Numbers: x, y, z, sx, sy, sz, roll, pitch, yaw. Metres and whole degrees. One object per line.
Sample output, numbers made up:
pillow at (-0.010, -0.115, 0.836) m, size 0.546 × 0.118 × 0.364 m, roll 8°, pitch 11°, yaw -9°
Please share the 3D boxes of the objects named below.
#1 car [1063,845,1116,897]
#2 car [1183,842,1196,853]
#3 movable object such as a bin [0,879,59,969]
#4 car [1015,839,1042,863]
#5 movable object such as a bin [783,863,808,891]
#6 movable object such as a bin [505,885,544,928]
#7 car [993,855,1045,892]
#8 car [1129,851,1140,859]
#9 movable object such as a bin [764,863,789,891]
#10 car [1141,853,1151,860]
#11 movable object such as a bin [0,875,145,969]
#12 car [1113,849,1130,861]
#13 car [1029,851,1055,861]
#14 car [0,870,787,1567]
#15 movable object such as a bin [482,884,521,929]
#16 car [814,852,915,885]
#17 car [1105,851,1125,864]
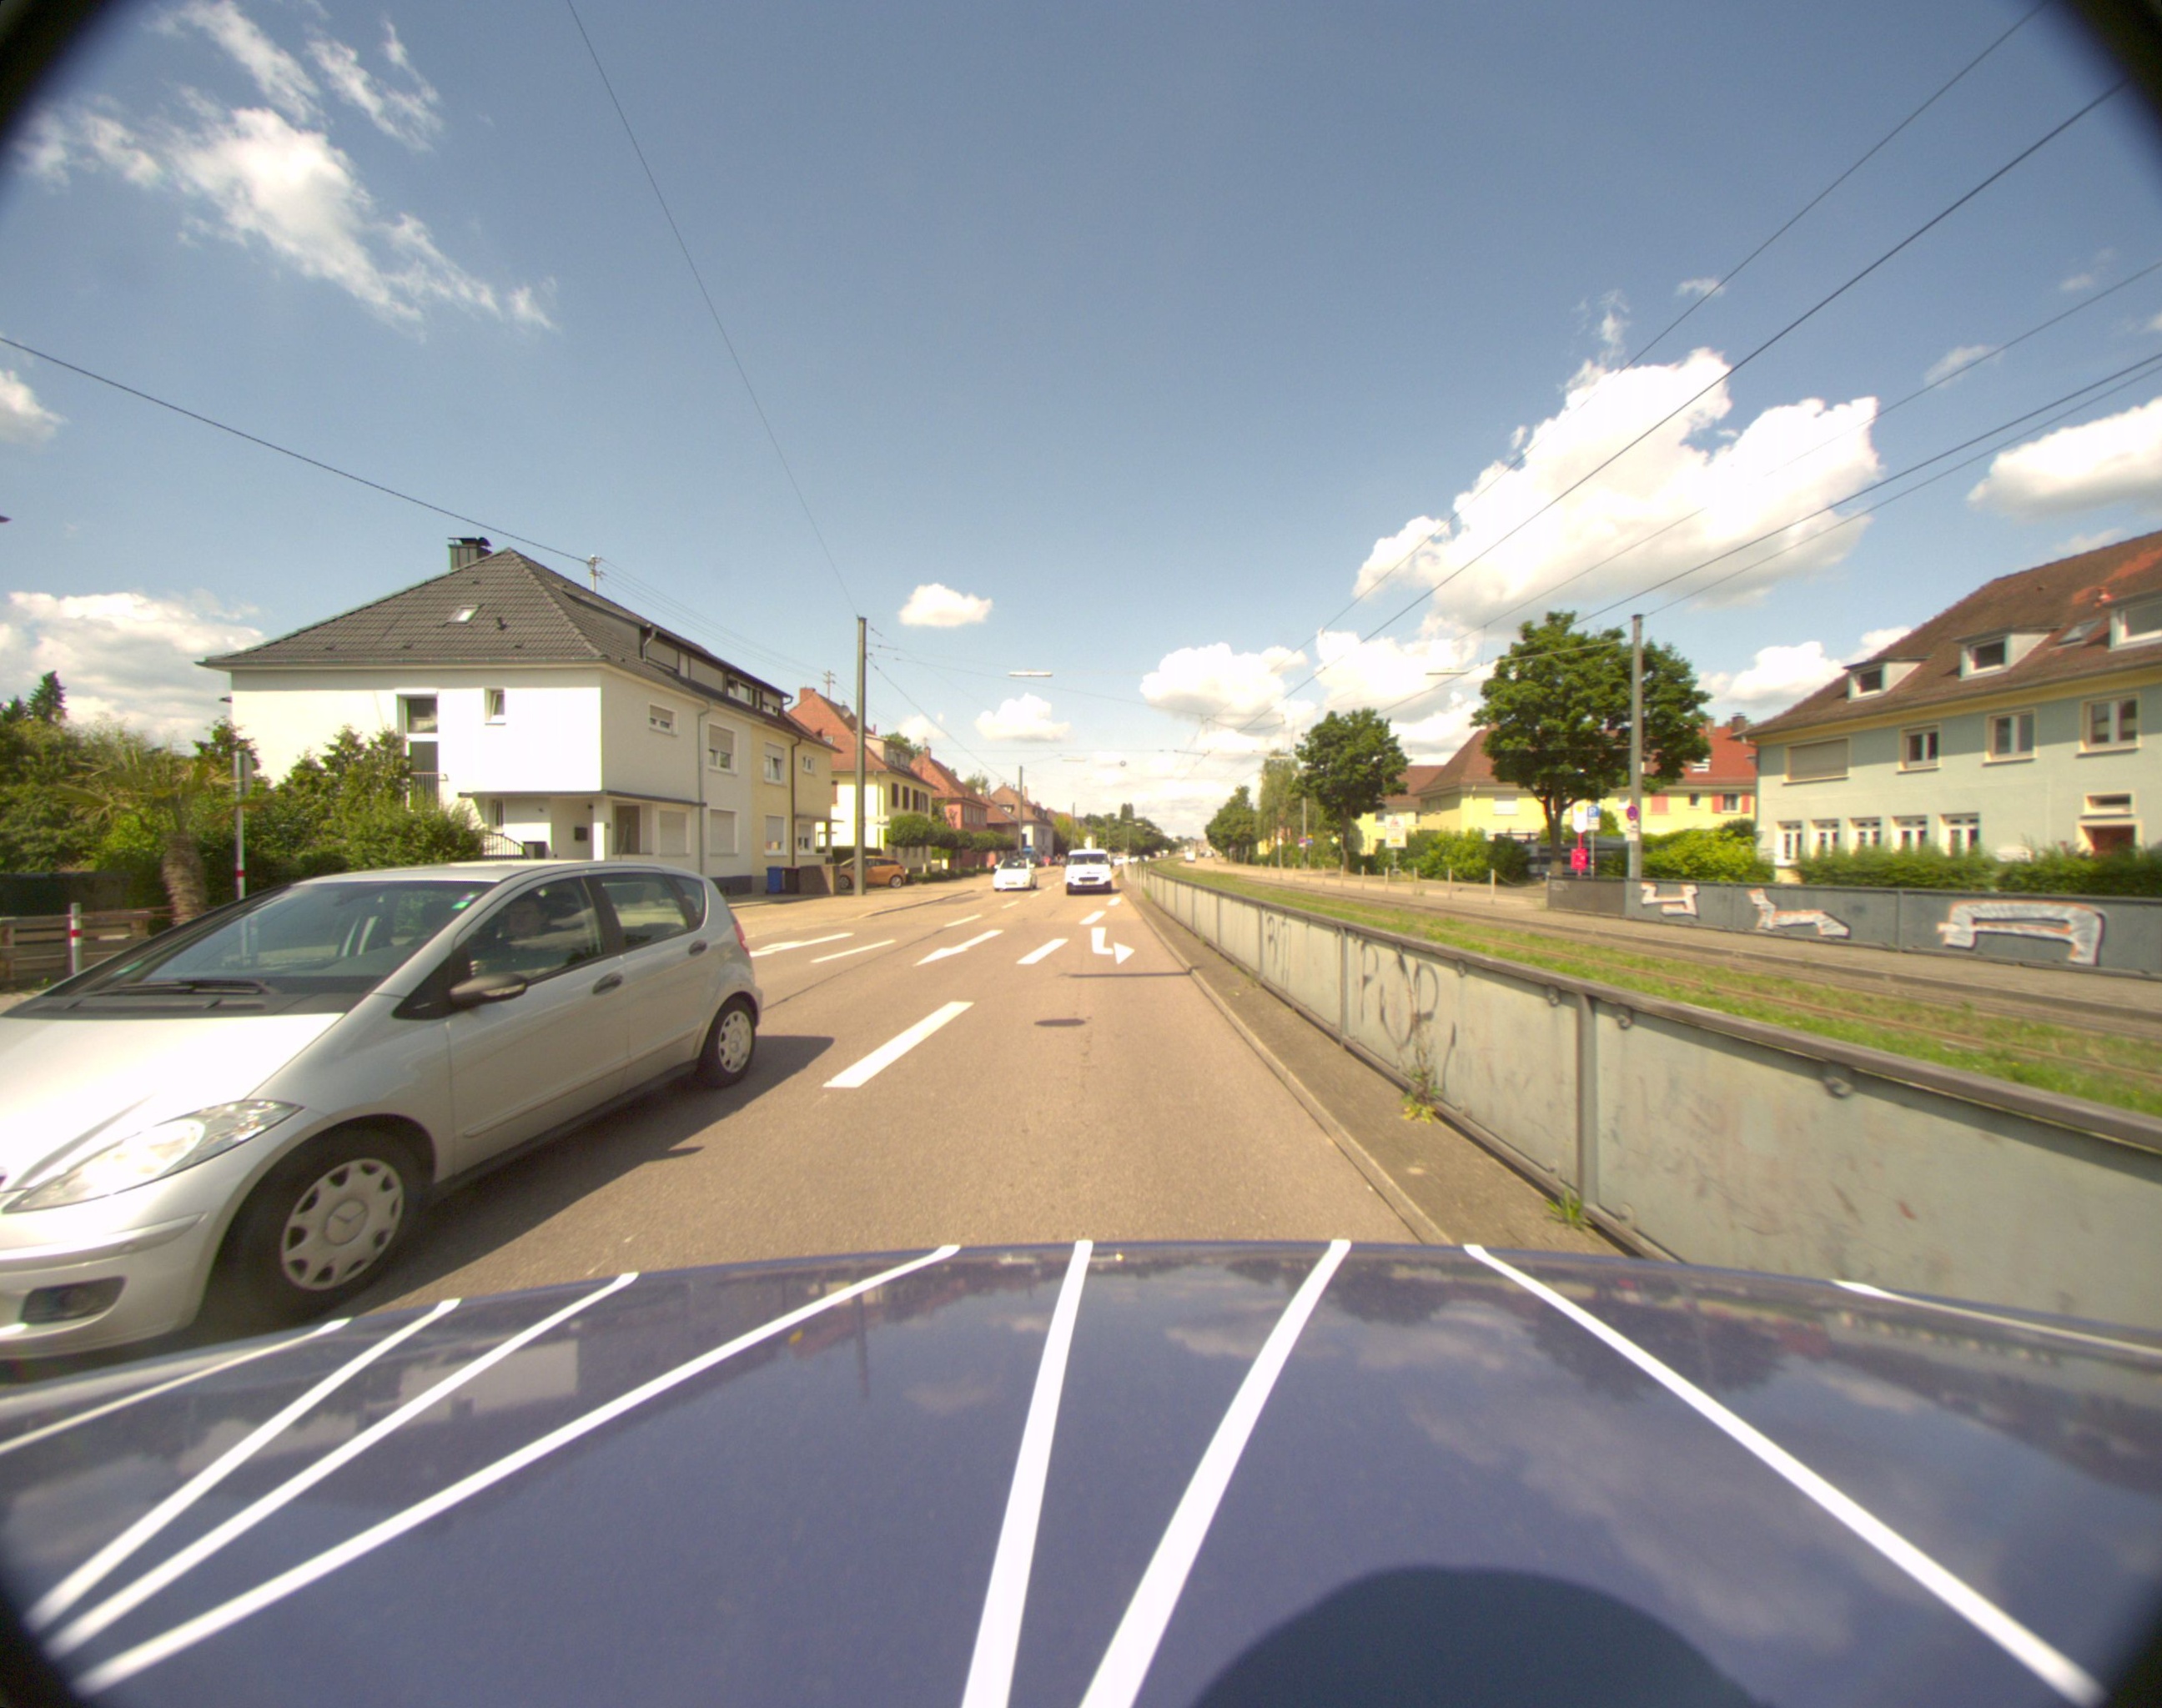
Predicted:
car at (0.408, 0.603, 29.877) m, size 1.777 × 1.850 × 4.376 m, roll -2°, pitch 0°, yaw 4°
car at (23.689, -1.435, 166.590) m, size 2.201 × 2.358 × 5.332 m, roll 1°, pitch 1°, yaw 2°
movable object such as a bin at (-16.356, 1.033, 11.310) m, size 1.207 × 1.324 × 0.888 m, roll -1°, pitch -1°, yaw 9°
car at (-6.502, -0.421, 94.899) m, size 2.156 × 2.913 × 6.246 m, roll -2°, pitch 1°, yaw 6°
movable object such as a bin at (-10.885, 0.873, 29.002) m, size 0.640 × 1.041 × 0.685 m, roll -1°, pitch 1°, yaw 0°
movable object such as a bin at (-12.135, 1.134, 16.579) m, size 0.446 × 0.890 × 0.545 m, roll -1°, pitch 1°, yaw -4°
car at (-2.880, 0.885, 36.177) m, size 1.777 × 1.540 × 4.001 m, roll -2°, pitch 0°, yaw 4°
car at (10.678, 0.153, 151.250) m, size 1.997 × 1.477 × 4.002 m, roll -2°, pitch 1°, yaw 8°
movable object such as a bin at (-11.591, 0.866, 28.971) m, size 0.647 × 1.049 × 0.659 m, roll -1°, pitch 1°, yaw 0°
car at (14.487, 0.546, 168.578) m, size 1.997 × 1.477 × 4.002 m, roll -2°, pitch 1°, yaw 8°
movable object such as a bin at (-14.968, 0.984, 11.261) m, size 1.084 × 1.324 × 0.887 m, roll 0°, pitch -1°, yaw 2°
car at (5.856, 0.134, 109.659) m, size 1.997 × 1.576 × 4.002 m, roll -2°, pitch 1°, yaw 9°
car at (-5.718, 0.264, 111.428) m, size 3.657 × 1.372 × 1.727 m, roll -1°, pitch 1°, yaw 4°
car at (-3.327, 0.936, 3.912) m, size 1.791 × 1.567 × 4.095 m, roll -1°, pitch 0°, yaw 3°
movable object such as a bin at (-12.640, 1.132, 16.584) m, size 0.442 × 0.929 × 0.549 m, roll -1°, pitch 1°, yaw -4°
car at (-10.058, 0.671, 35.375) m, size 4.101 × 1.449 × 1.911 m, roll 1°, pitch -1°, yaw -39°
car at (4.117, 0.421, 91.200) m, size 1.997 × 1.477 × 4.002 m, roll -2°, pitch 1°, yaw 8°
